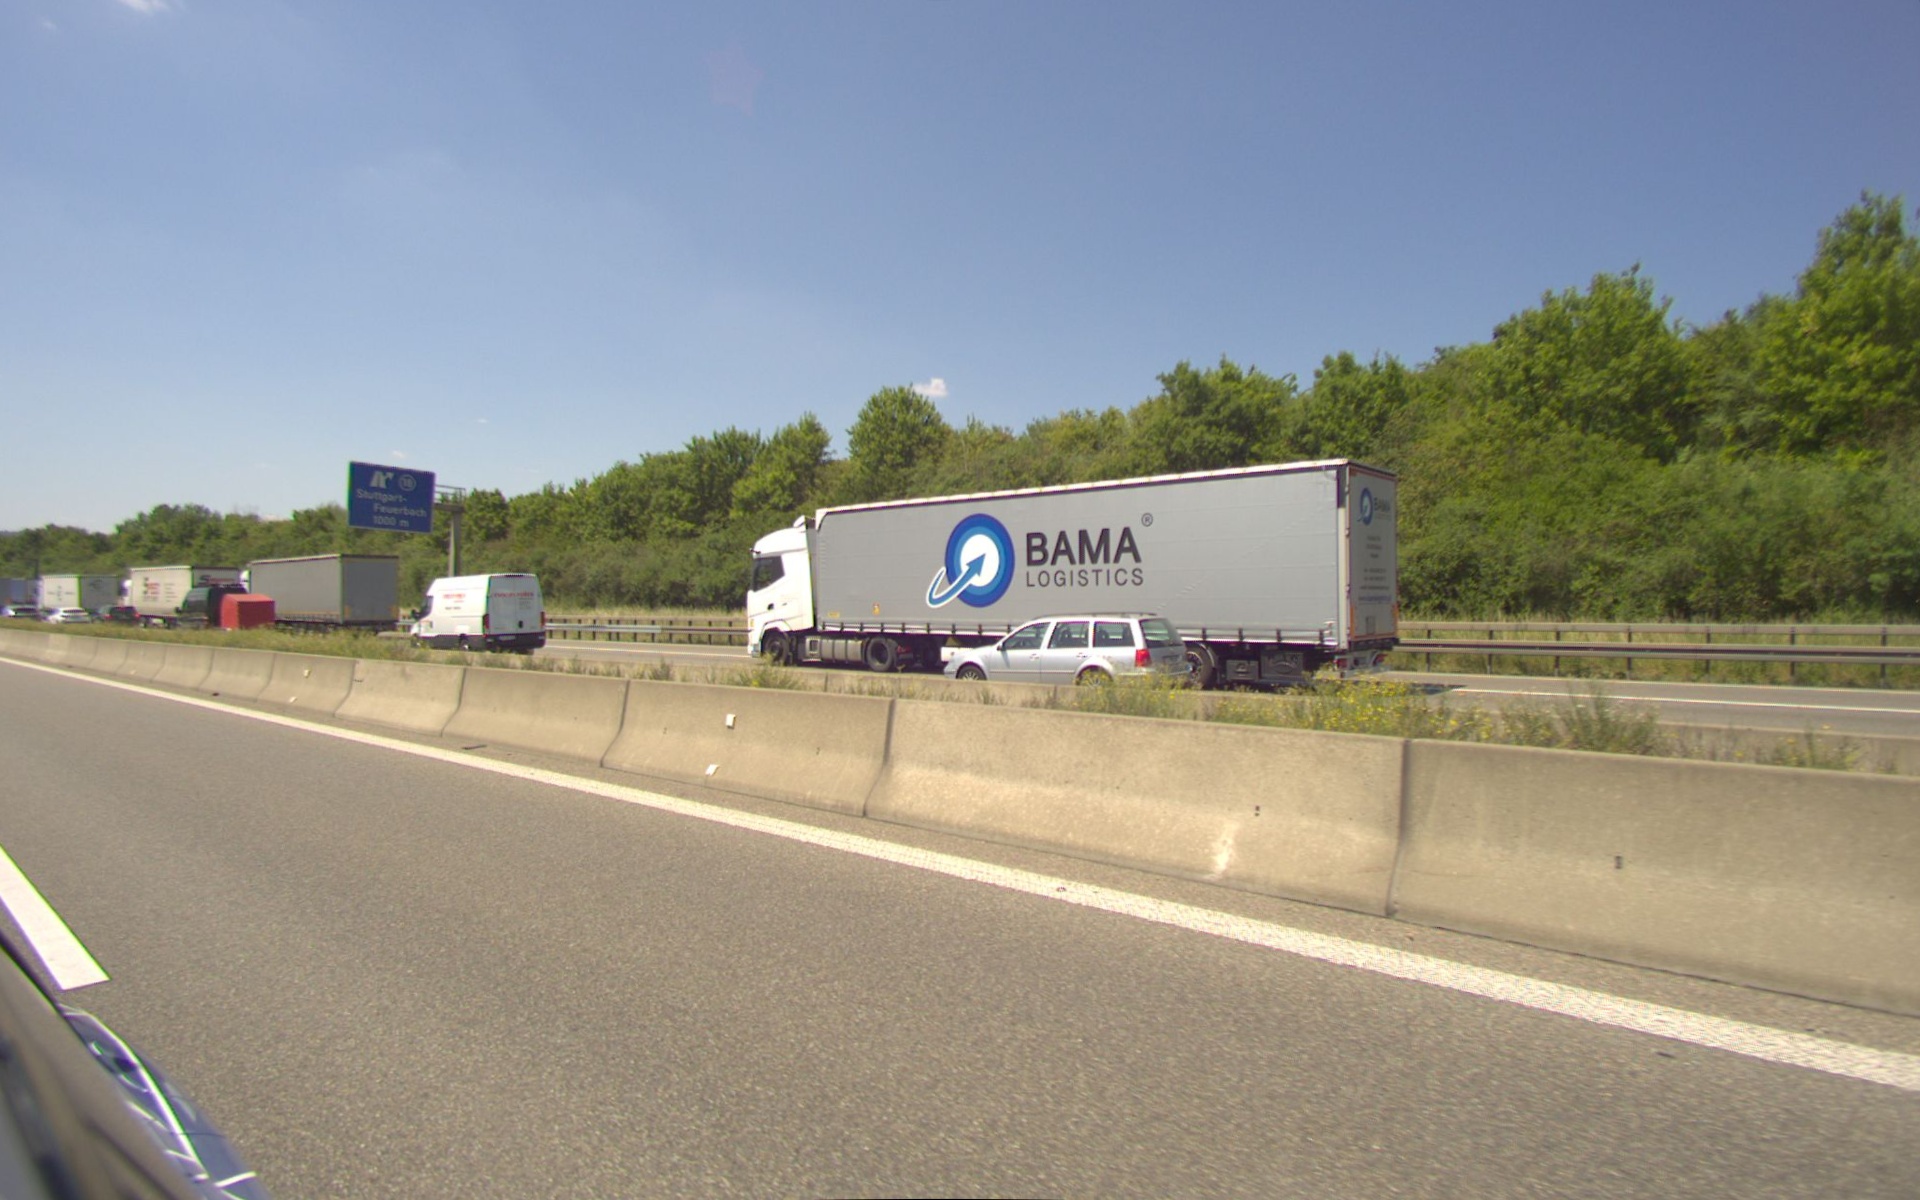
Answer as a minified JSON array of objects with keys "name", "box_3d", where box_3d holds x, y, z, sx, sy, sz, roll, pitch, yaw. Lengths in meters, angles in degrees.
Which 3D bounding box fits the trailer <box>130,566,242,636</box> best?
[{"name":"trailer","box_3d":[-51.923,0.096,67.665,13.853,4.310,2.783,0,0,39]}]

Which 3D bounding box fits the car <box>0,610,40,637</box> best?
[{"name":"car","box_3d":[-61.146,1.482,65.345,4.791,1.701,1.913,0,-1,39]}]

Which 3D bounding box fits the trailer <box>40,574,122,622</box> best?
[{"name":"trailer","box_3d":[-75.977,-0.155,87.327,13.860,3.902,2.875,0,0,39]}]

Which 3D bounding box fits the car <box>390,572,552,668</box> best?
[{"name":"car","box_3d":[-15.696,0.527,32.261,6.620,2.807,2.118,1,1,40]}]

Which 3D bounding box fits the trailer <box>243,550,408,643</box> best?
[{"name":"trailer","box_3d":[-32.849,-0.160,51.952,14.181,4.238,2.952,0,0,40]}]

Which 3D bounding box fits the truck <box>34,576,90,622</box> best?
[{"name":"truck","box_3d":[-81.053,-0.115,91.344,5.967,4.037,2.821,0,0,39]}]

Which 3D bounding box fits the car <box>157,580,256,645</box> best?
[{"name":"car","box_3d":[-37.401,0.643,50.161,6.541,3.037,2.216,-1,-2,37]}]

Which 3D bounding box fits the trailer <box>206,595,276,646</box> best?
[{"name":"trailer","box_3d":[-33.317,0.955,46.879,3.955,2.270,1.554,-1,-2,37]}]

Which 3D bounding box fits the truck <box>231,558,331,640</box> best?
[{"name":"truck","box_3d":[-37.425,-0.065,55.723,6.600,4.241,2.931,0,0,41]}]

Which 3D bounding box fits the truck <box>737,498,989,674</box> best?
[{"name":"truck","box_3d":[-2.669,-0.279,26.554,6.600,4.067,2.824,-1,-1,41]}]

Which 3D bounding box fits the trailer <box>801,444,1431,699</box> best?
[{"name":"trailer","box_3d":[2.267,-0.361,22.221,14.439,4.117,2.872,-1,-1,42]}]

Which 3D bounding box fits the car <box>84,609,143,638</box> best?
[{"name":"car","box_3d":[-53.631,1.476,64.077,4.786,1.728,1.974,0,0,39]}]

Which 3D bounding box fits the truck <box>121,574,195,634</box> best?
[{"name":"truck","box_3d":[-56.607,0.270,71.408,6.091,4.073,2.729,0,0,38]}]

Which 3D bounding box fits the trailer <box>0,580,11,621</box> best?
[{"name":"trailer","box_3d":[-109.352,0.028,112.614,13.757,4.454,3.192,0,-1,37]}]

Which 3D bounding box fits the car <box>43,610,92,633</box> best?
[{"name":"car","box_3d":[-62.386,1.474,70.708,4.401,1.485,1.863,1,0,39]}]

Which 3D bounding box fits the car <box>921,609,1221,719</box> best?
[{"name":"car","box_3d":[1.716,0.940,16.862,4.855,1.471,1.734,1,1,40]}]
